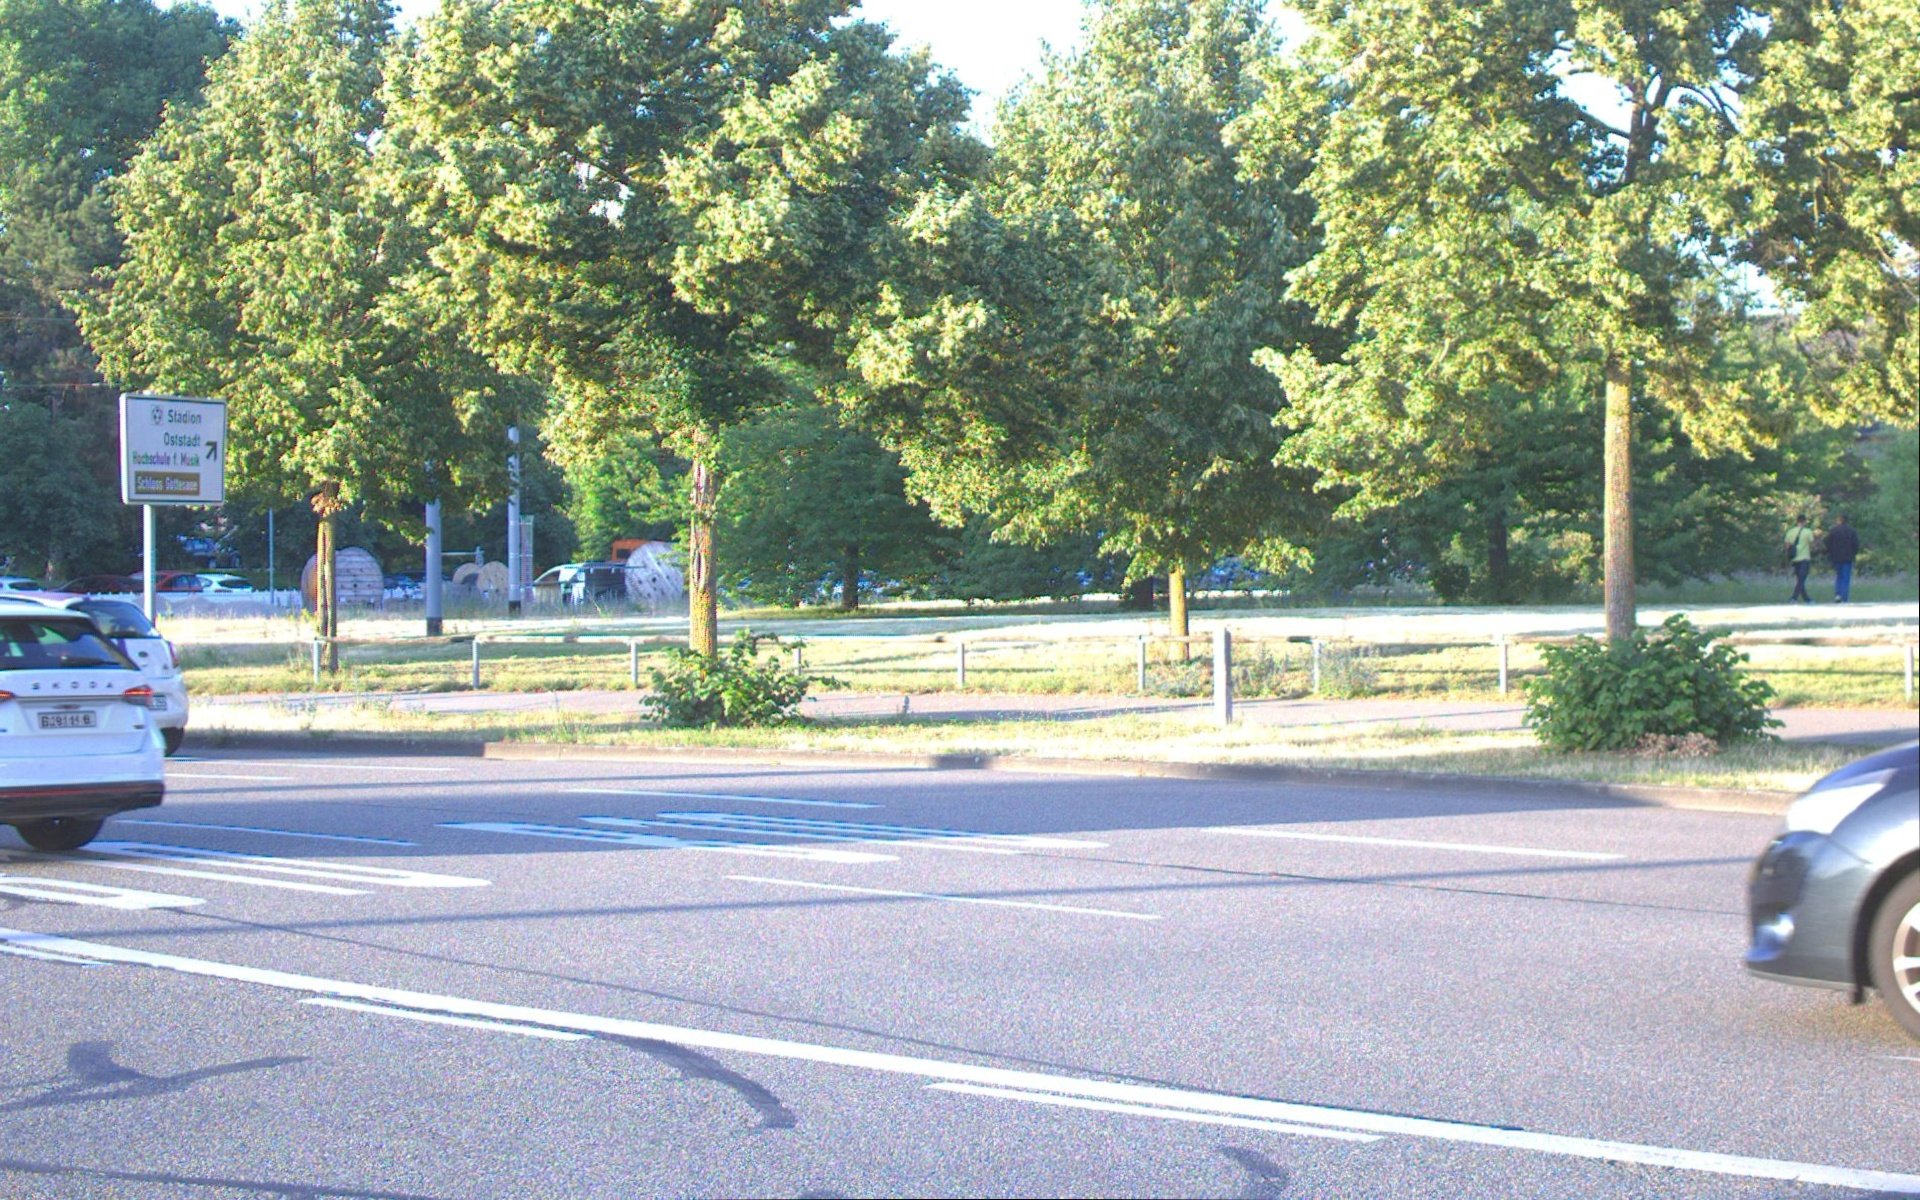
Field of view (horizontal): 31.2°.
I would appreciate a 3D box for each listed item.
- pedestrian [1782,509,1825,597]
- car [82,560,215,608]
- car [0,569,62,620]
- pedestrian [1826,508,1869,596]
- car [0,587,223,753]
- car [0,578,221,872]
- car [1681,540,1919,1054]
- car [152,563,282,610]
[{"bbox_3d":[15.678,-0.878,63.875,0.579,1.621,0.533,-1,1,-37],"label":"pedestrian"},{"bbox_3d":[-26.924,-0.548,114.042,3.994,1.545,1.997,0,1,31],"label":"car"},{"bbox_3d":[-30.366,-0.196,107.873,3.994,1.545,1.997,0,1,31],"label":"car"},{"bbox_3d":[16.468,-0.893,63.773,0.530,1.621,0.619,0,1,43],"label":"pedestrian"},{"bbox_3d":[-8.555,0.599,31.248,3.481,1.438,1.551,0,0,30],"label":"car"},{"bbox_3d":[-6.346,0.617,19.105,4.543,1.444,1.724,0,2,35],"label":"car"},{"bbox_3d":[4.725,0.628,10.850,4.450,1.627,1.800,0,0,34],"label":"car"},{"bbox_3d":[-25.116,-0.471,116.155,3.994,1.545,1.997,0,1,31],"label":"car"}]
